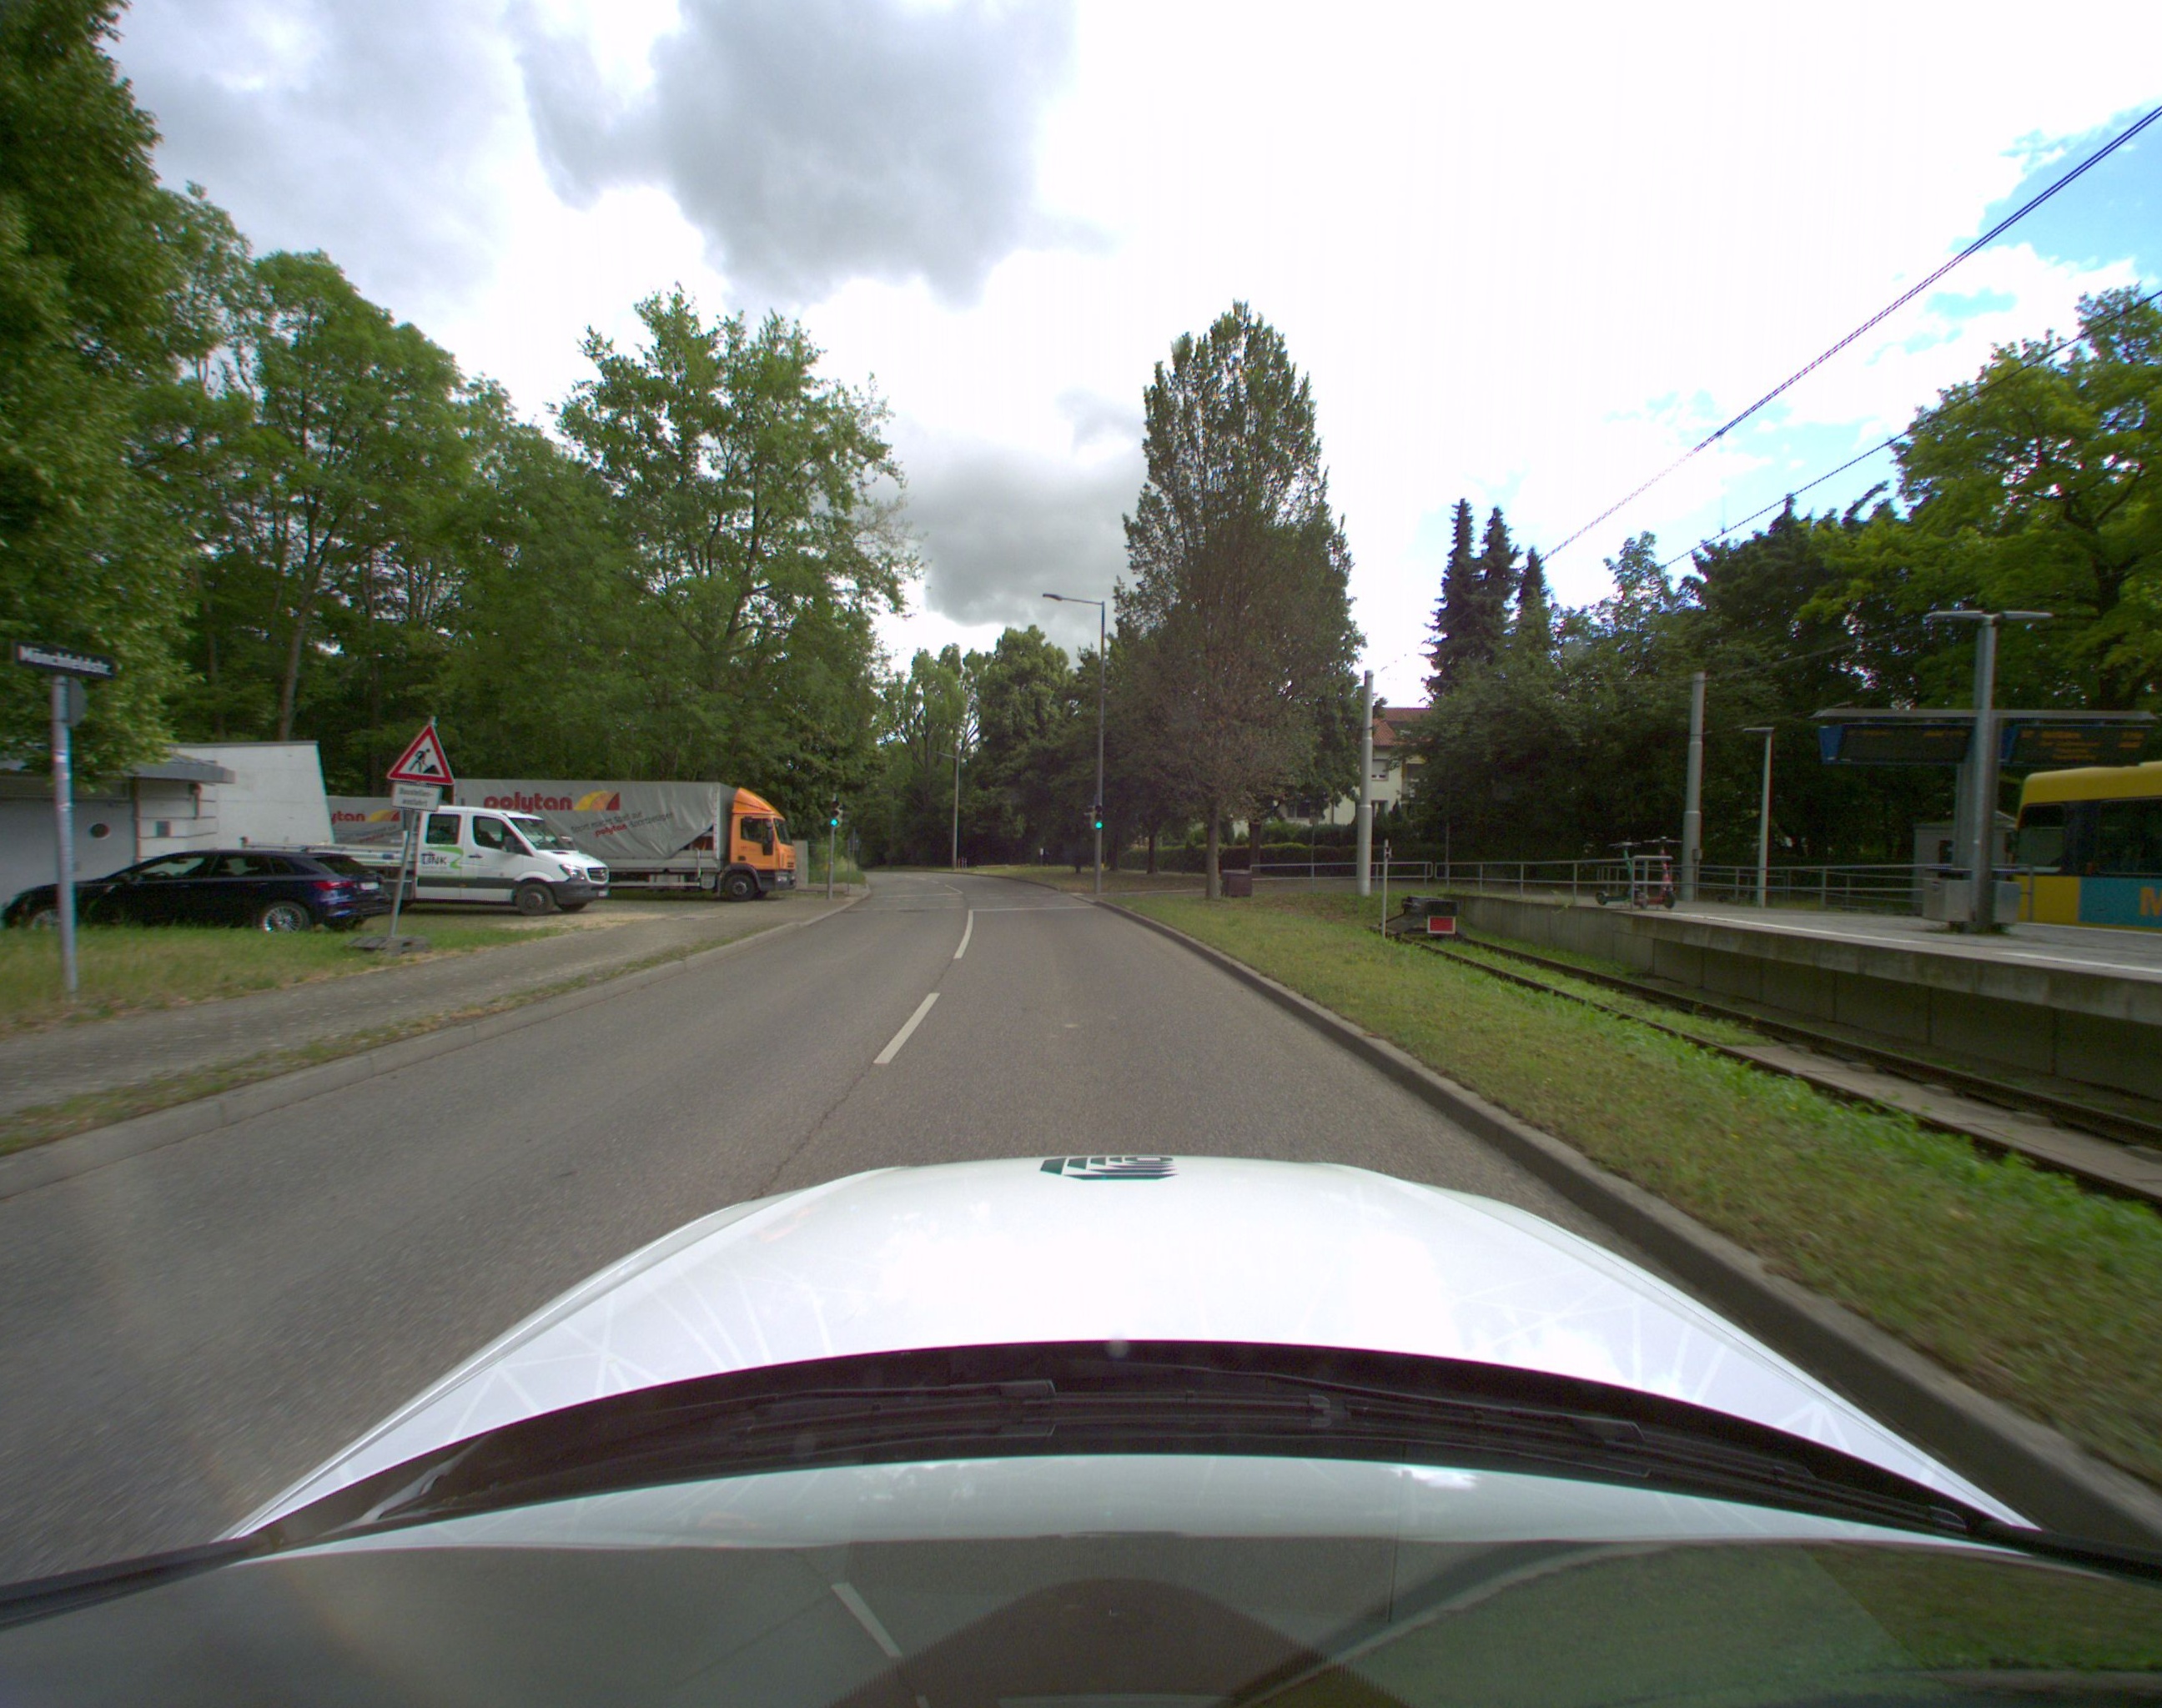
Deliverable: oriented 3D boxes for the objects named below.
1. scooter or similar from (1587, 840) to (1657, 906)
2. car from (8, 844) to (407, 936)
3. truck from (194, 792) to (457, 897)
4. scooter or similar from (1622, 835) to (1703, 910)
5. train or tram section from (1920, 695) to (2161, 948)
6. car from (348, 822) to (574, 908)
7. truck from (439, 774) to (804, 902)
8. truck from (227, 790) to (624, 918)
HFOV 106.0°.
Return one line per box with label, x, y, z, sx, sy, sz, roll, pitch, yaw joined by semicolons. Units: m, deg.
scooter or similar;10.784;0.378;16.276;0.429;1.253;1.251;0;-2;-7
car;-13.770;0.591;13.166;3.996;1.327;1.707;1;-3;-17
truck;-24.827;-0.345;27.183;5.927;3.199;2.433;0;2;-26
scooter or similar;10.017;0.321;14.083;0.429;1.253;1.253;0;-2;-4
train or tram section;16.184;-0.351;5.267;2.800;3.588;19.541;2;1;5
car;-15.167;0.267;20.159;3.988;1.909;1.775;2;0;-11
truck;-13.511;-0.398;24.740;9.228;3.531;2.557;1;-1;-9
truck;-13.939;0.060;17.840;6.389;2.416;2.115;2;-1;-12
